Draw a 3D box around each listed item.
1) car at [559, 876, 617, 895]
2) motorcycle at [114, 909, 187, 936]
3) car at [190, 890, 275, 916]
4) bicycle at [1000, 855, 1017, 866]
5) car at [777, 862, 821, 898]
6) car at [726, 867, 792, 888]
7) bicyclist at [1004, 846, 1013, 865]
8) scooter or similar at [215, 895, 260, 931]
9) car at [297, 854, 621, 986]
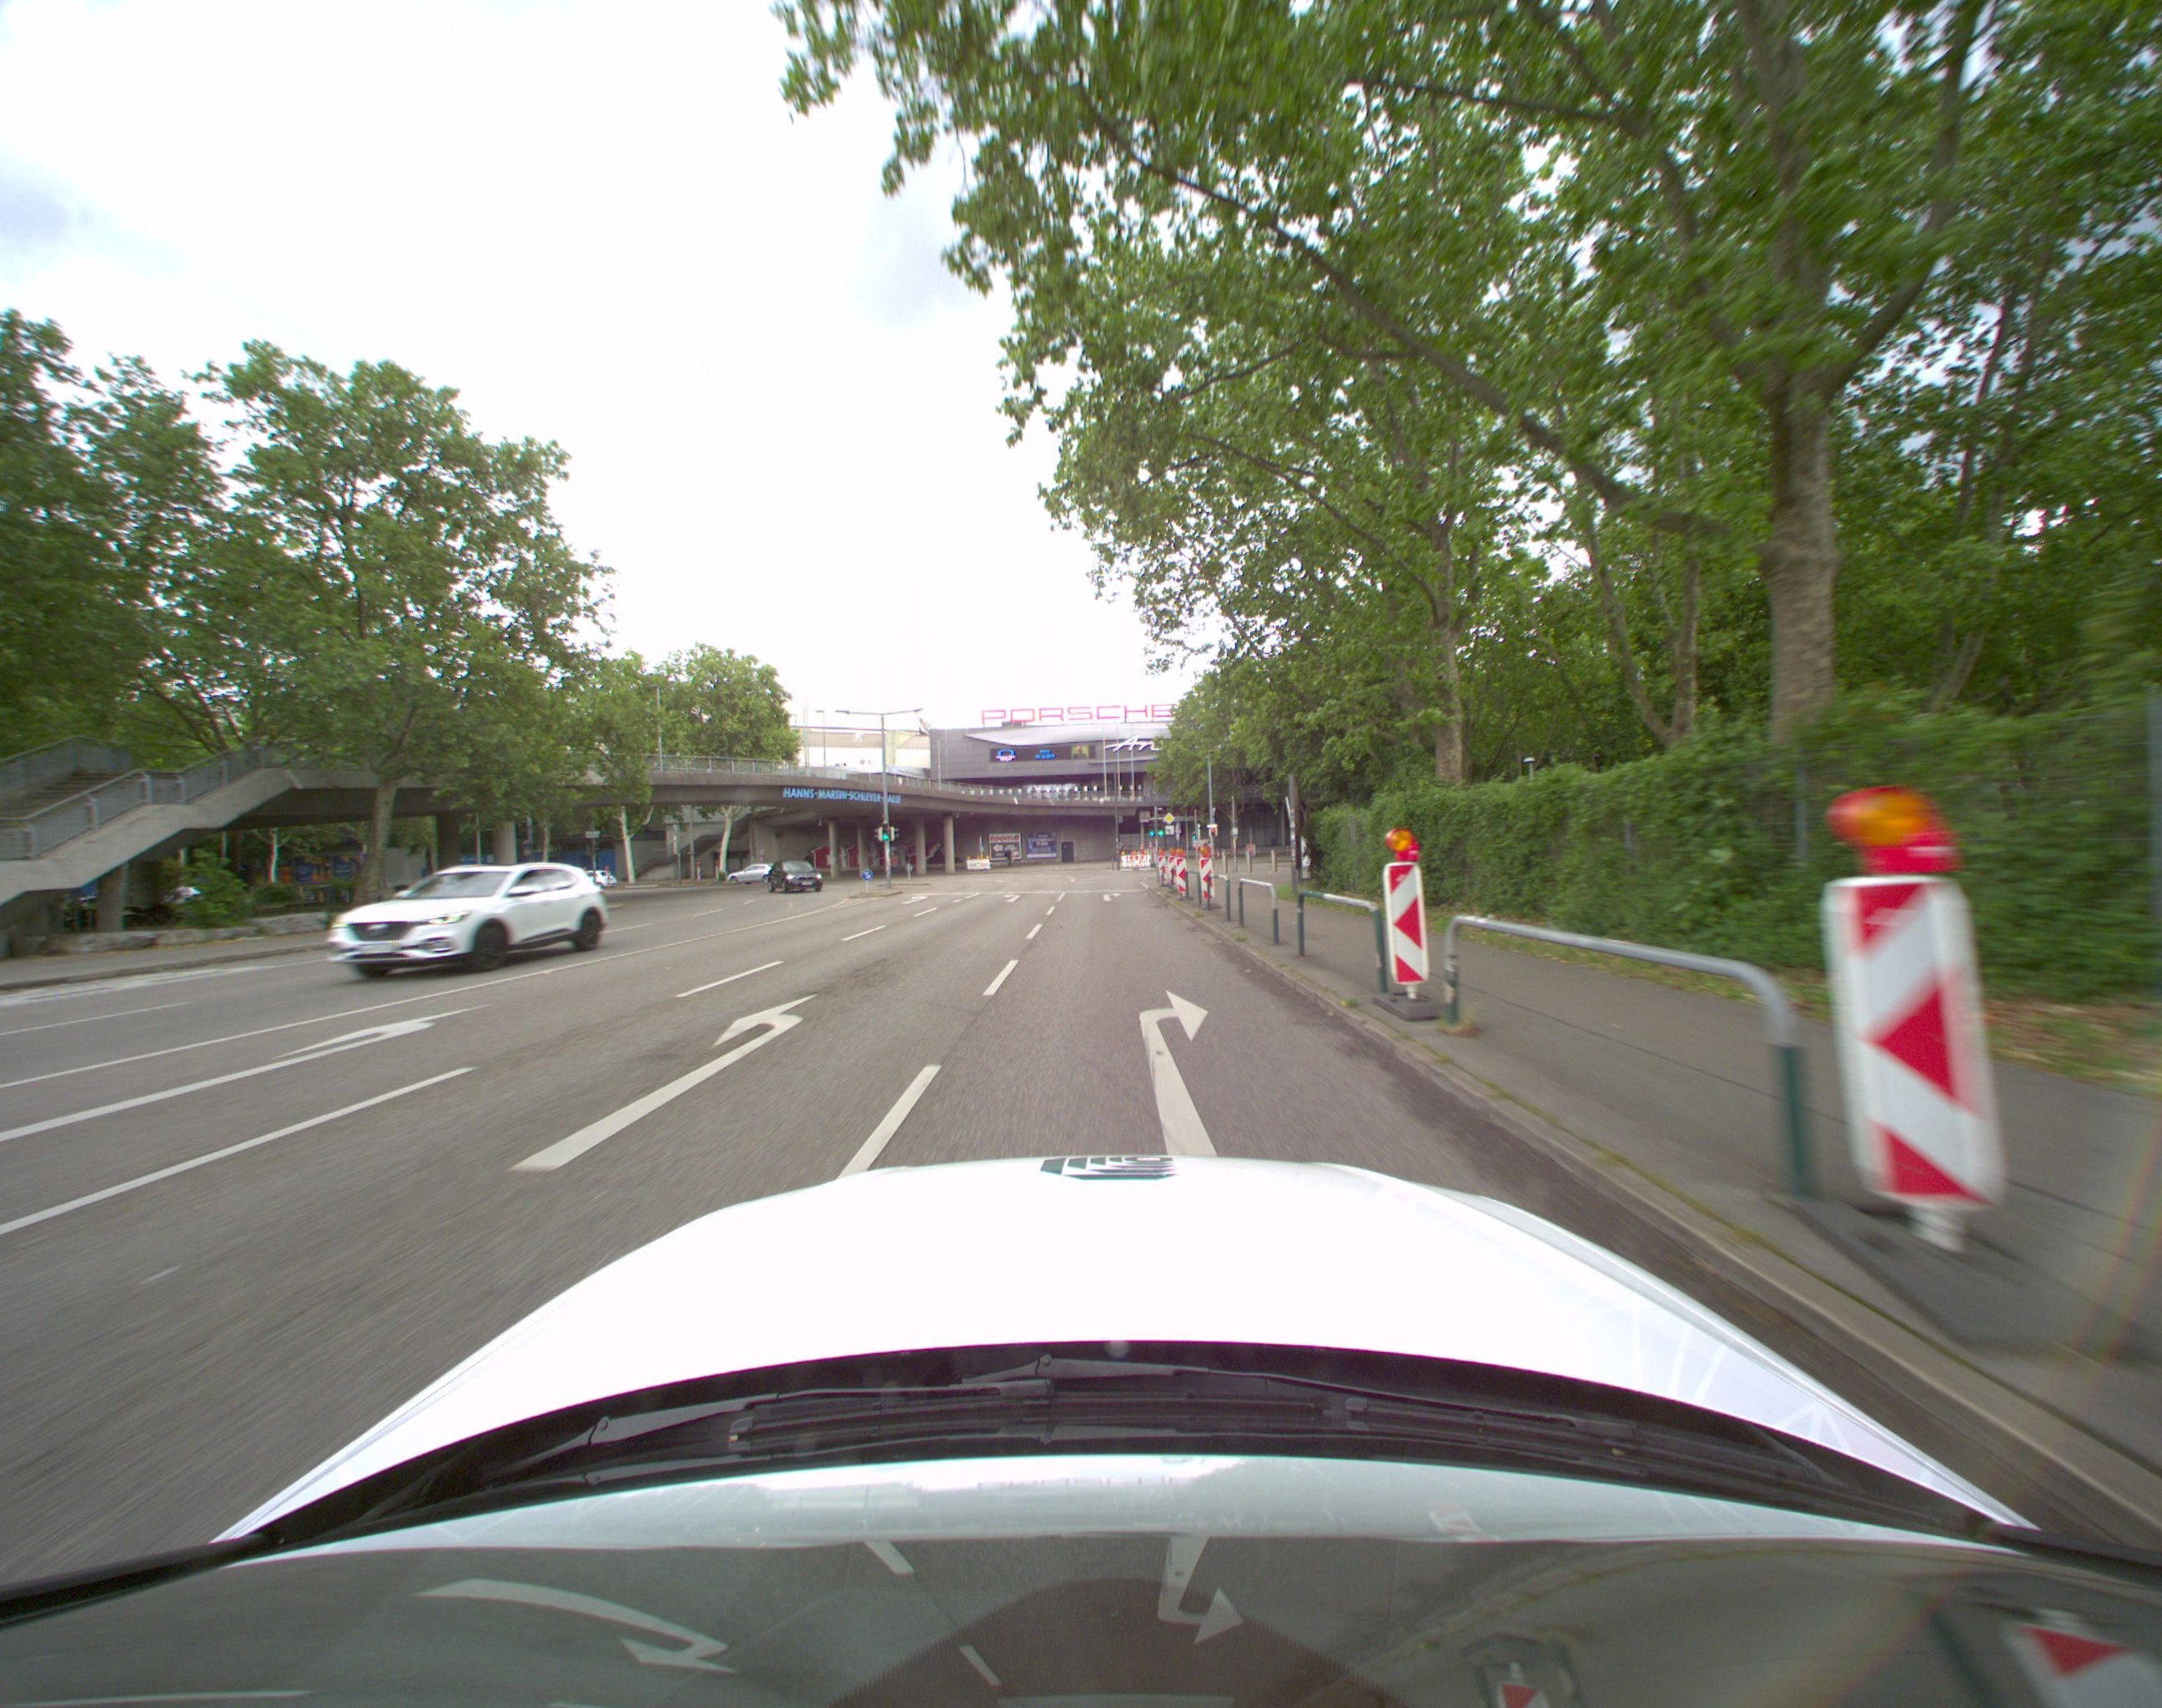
[{"bbox_3d":[-37.192,2.372,61.478,3.372,1.313,1.616,-2,0,1],"label":"car"},{"bbox_3d":[-35.357,2.602,30.979,0.644,0.851,1.740,-2,0,6],"label":"motorcycle"},{"bbox_3d":[-63.162,3.617,60.697,3.981,1.660,1.996,-2,0,-6],"label":"car"},{"bbox_3d":[-6.812,0.646,76.472,1.529,1.013,0.516,-1,-1,-3],"label":"bicycle"},{"bbox_3d":[-14.217,1.275,40.905,1.777,1.606,4.395,-3,0,-22],"label":"car"},{"bbox_3d":[-23.576,1.709,59.677,3.958,1.418,2.008,-2,0,14],"label":"car"},{"bbox_3d":[-6.823,0.135,76.485,0.849,1.697,0.766,-1,-1,-3],"label":"bicyclist"},{"bbox_3d":[-32.360,2.258,31.267,0.414,1.319,1.227,-3,-2,0],"label":"scooter or similar"},{"bbox_3d":[-10.019,0.953,13.733,1.989,1.744,4.591,-3,-1,-2],"label":"car"}]
